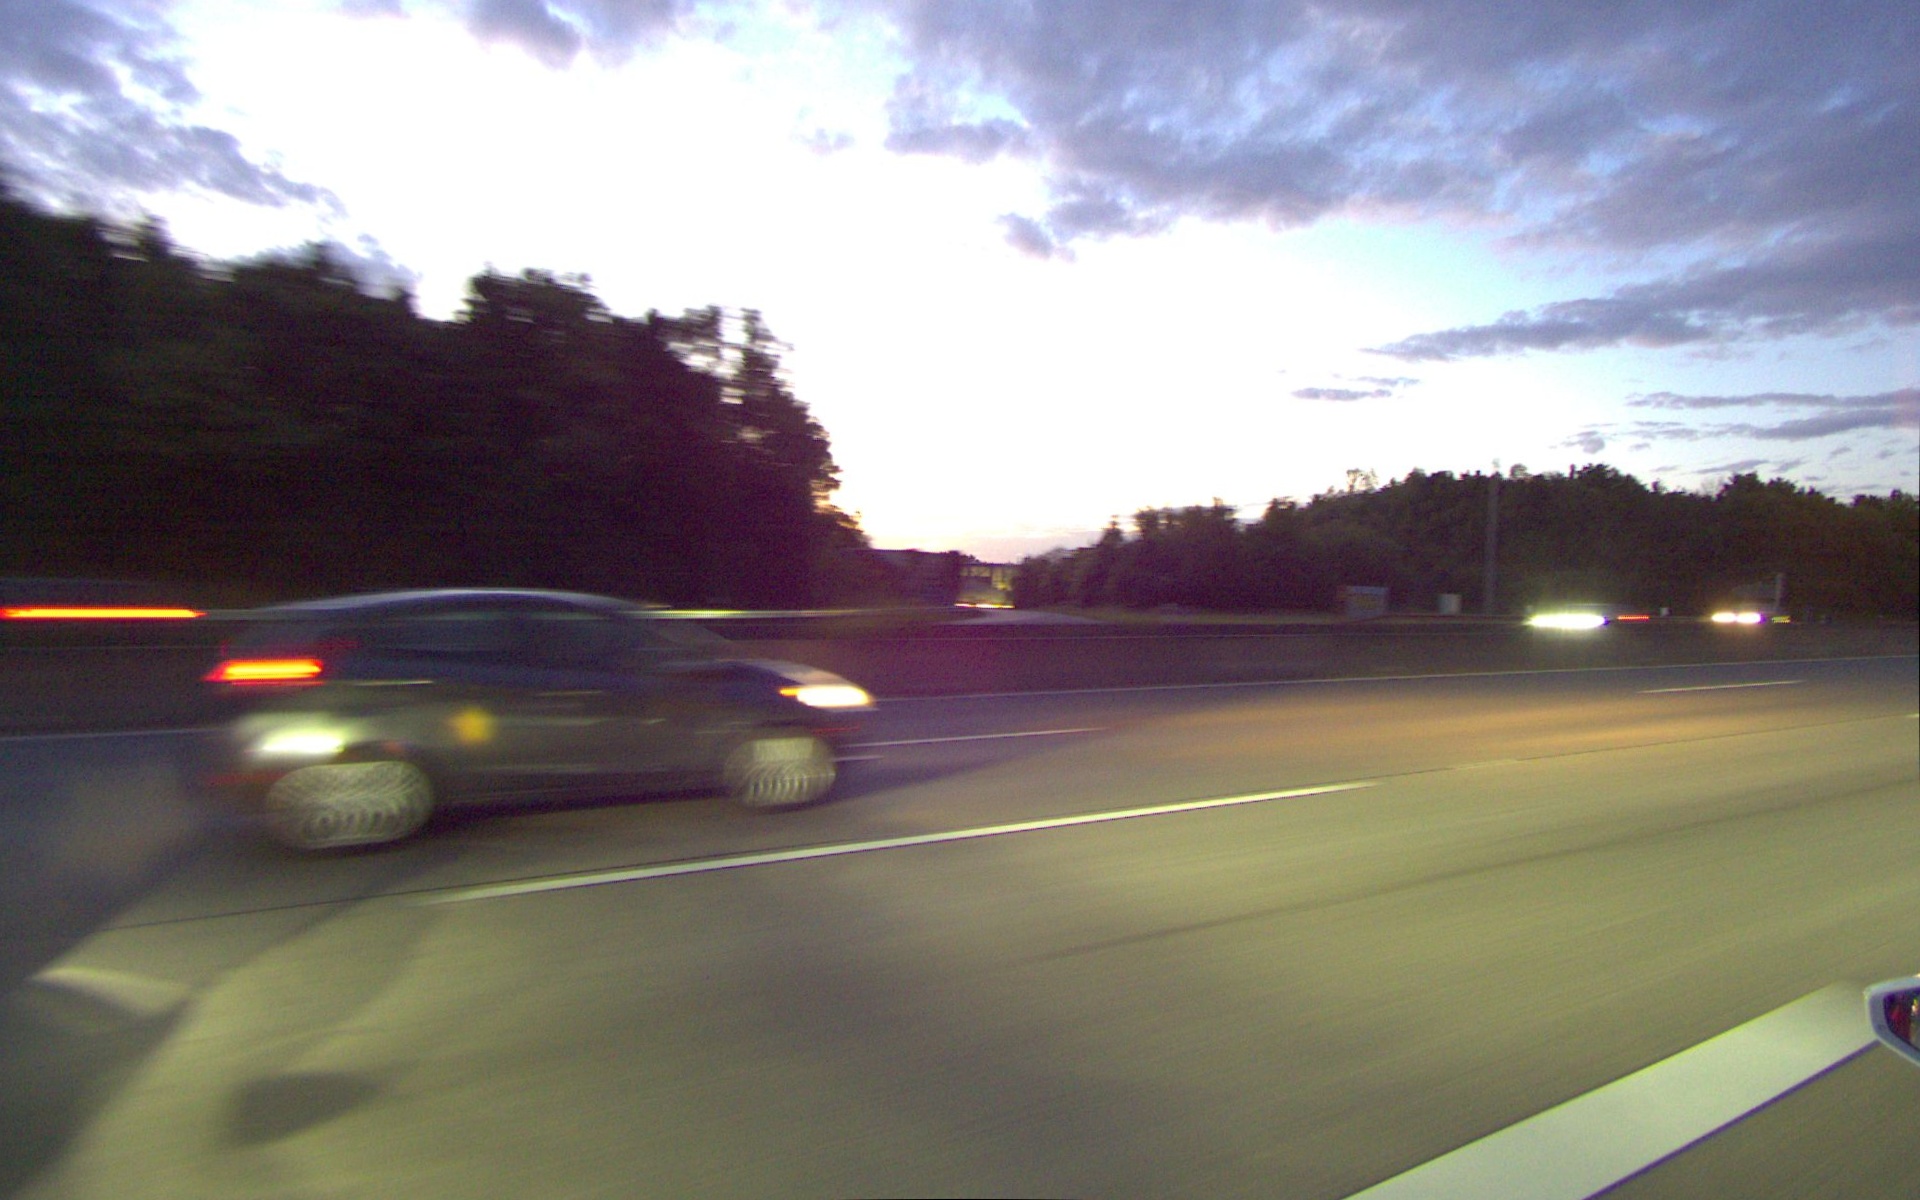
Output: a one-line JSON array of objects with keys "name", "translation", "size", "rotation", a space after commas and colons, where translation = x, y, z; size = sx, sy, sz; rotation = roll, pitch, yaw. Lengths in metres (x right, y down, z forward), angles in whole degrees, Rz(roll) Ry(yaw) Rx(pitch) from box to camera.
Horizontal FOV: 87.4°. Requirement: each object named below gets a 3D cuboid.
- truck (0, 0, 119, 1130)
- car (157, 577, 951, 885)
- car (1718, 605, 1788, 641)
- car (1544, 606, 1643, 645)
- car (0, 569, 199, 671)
[{"name": "truck", "translation": [-5.118, -0.577, 1.028], "size": [6.082, 3.954, 2.765], "rotation": [1, 0, -31]}, {"name": "car", "translation": [-2.499, 0.666, 6.956], "size": [4.495, 1.518, 1.984], "rotation": [1, 0, -30]}, {"name": "car", "translation": [47.090, 1.351, 59.625], "size": [4.192, 2.040, 2.016], "rotation": [1, 0, -33]}, {"name": "car", "translation": [27.078, 1.063, 42.896], "size": [3.953, 1.567, 1.984], "rotation": [1, 0, -30]}, {"name": "car", "translation": [-15.870, 0.309, 16.985], "size": [4.503, 1.631, 1.985], "rotation": [1, 0, -29]}]
